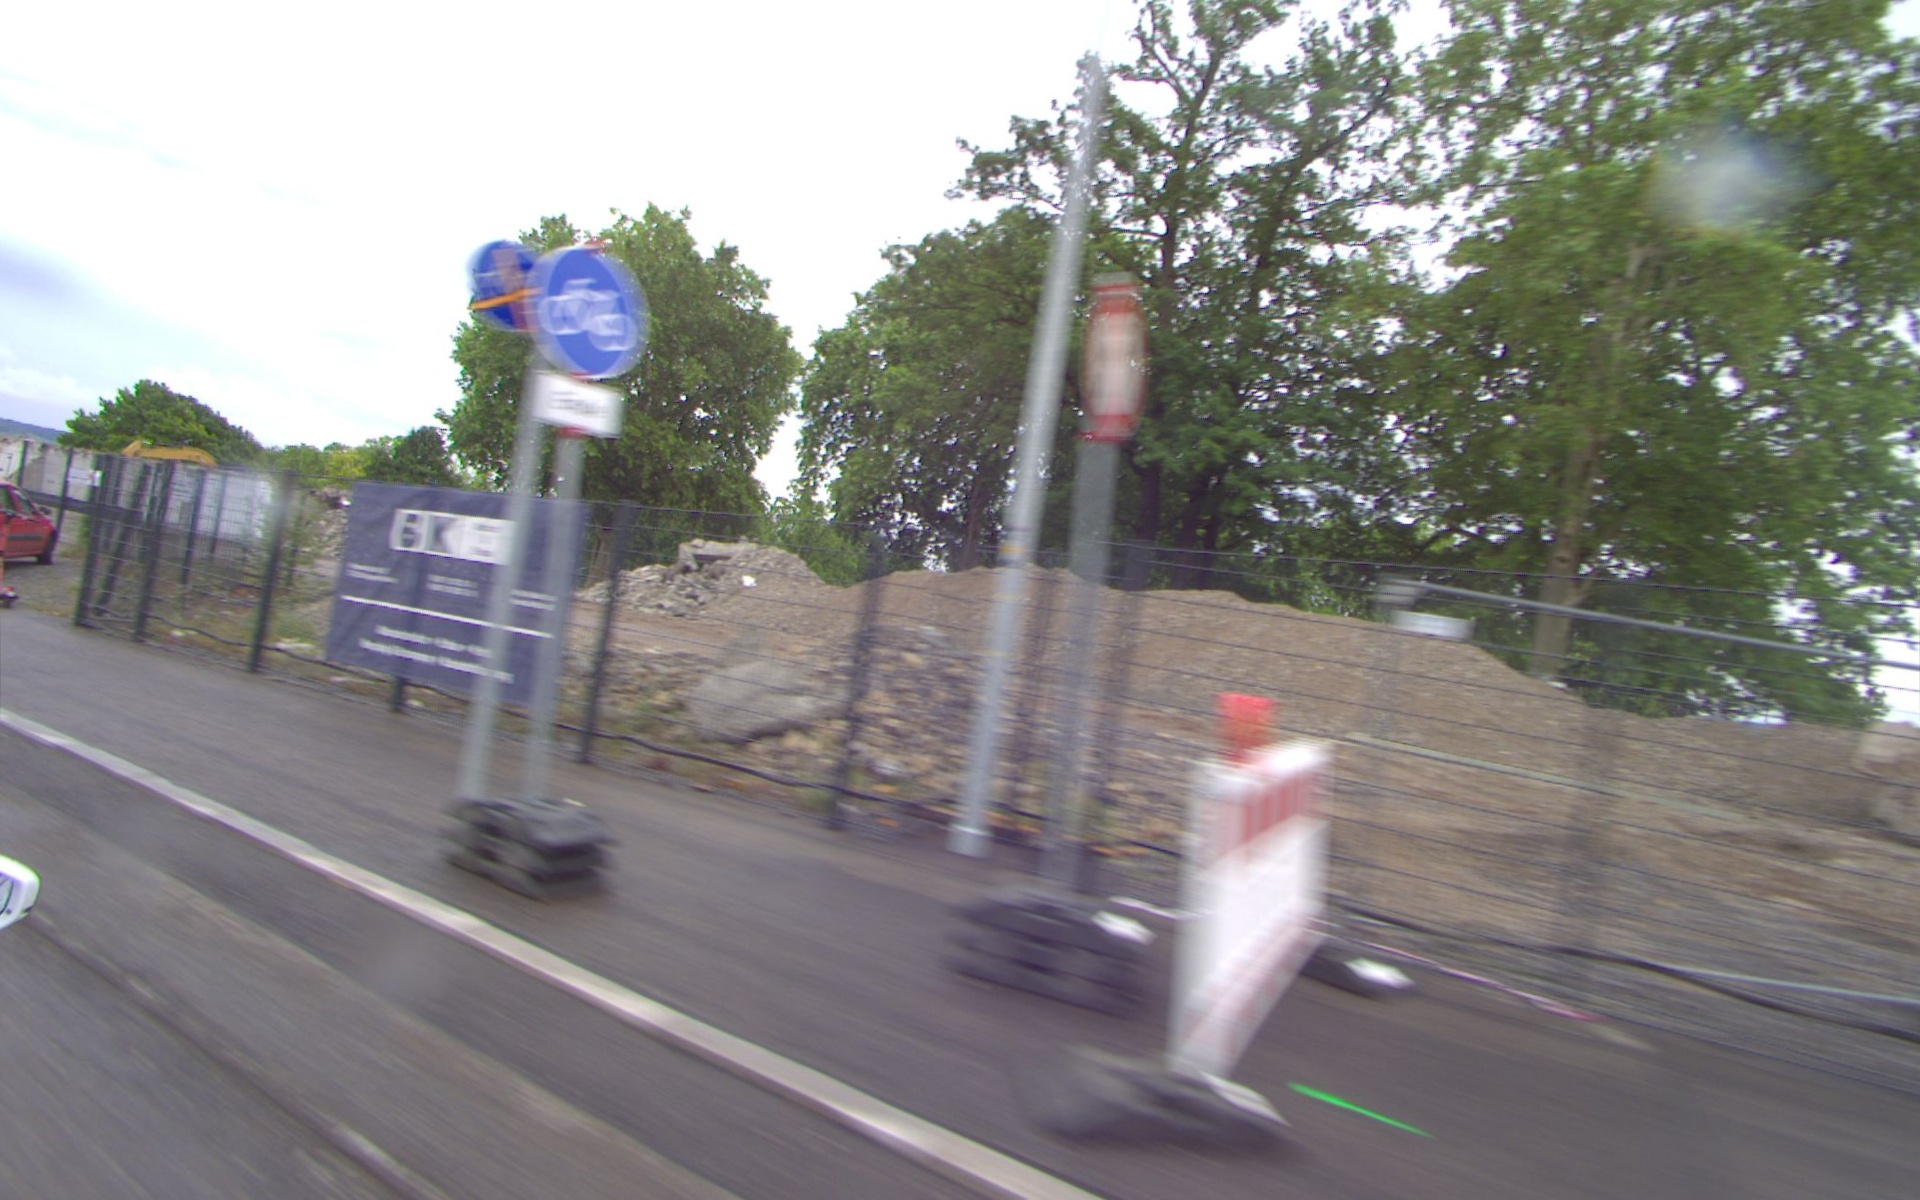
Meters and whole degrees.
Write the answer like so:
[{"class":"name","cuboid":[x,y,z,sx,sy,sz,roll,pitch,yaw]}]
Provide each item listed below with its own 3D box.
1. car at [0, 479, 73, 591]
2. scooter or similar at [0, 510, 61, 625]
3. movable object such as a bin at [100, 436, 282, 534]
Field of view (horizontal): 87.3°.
[{"class":"car","cuboid":[-16.915,-1.213,16.988,1.806,1.814,4.377,9,-2,-29]},{"class":"scooter or similar","cuboid":[-12.630,-0.481,13.295,1.882,1.367,0.615,7,-1,36]},{"class":"movable object such as a bin","cuboid":[-64.731,-9.497,85.060,3.439,6.065,11.234,6,-2,37]}]
